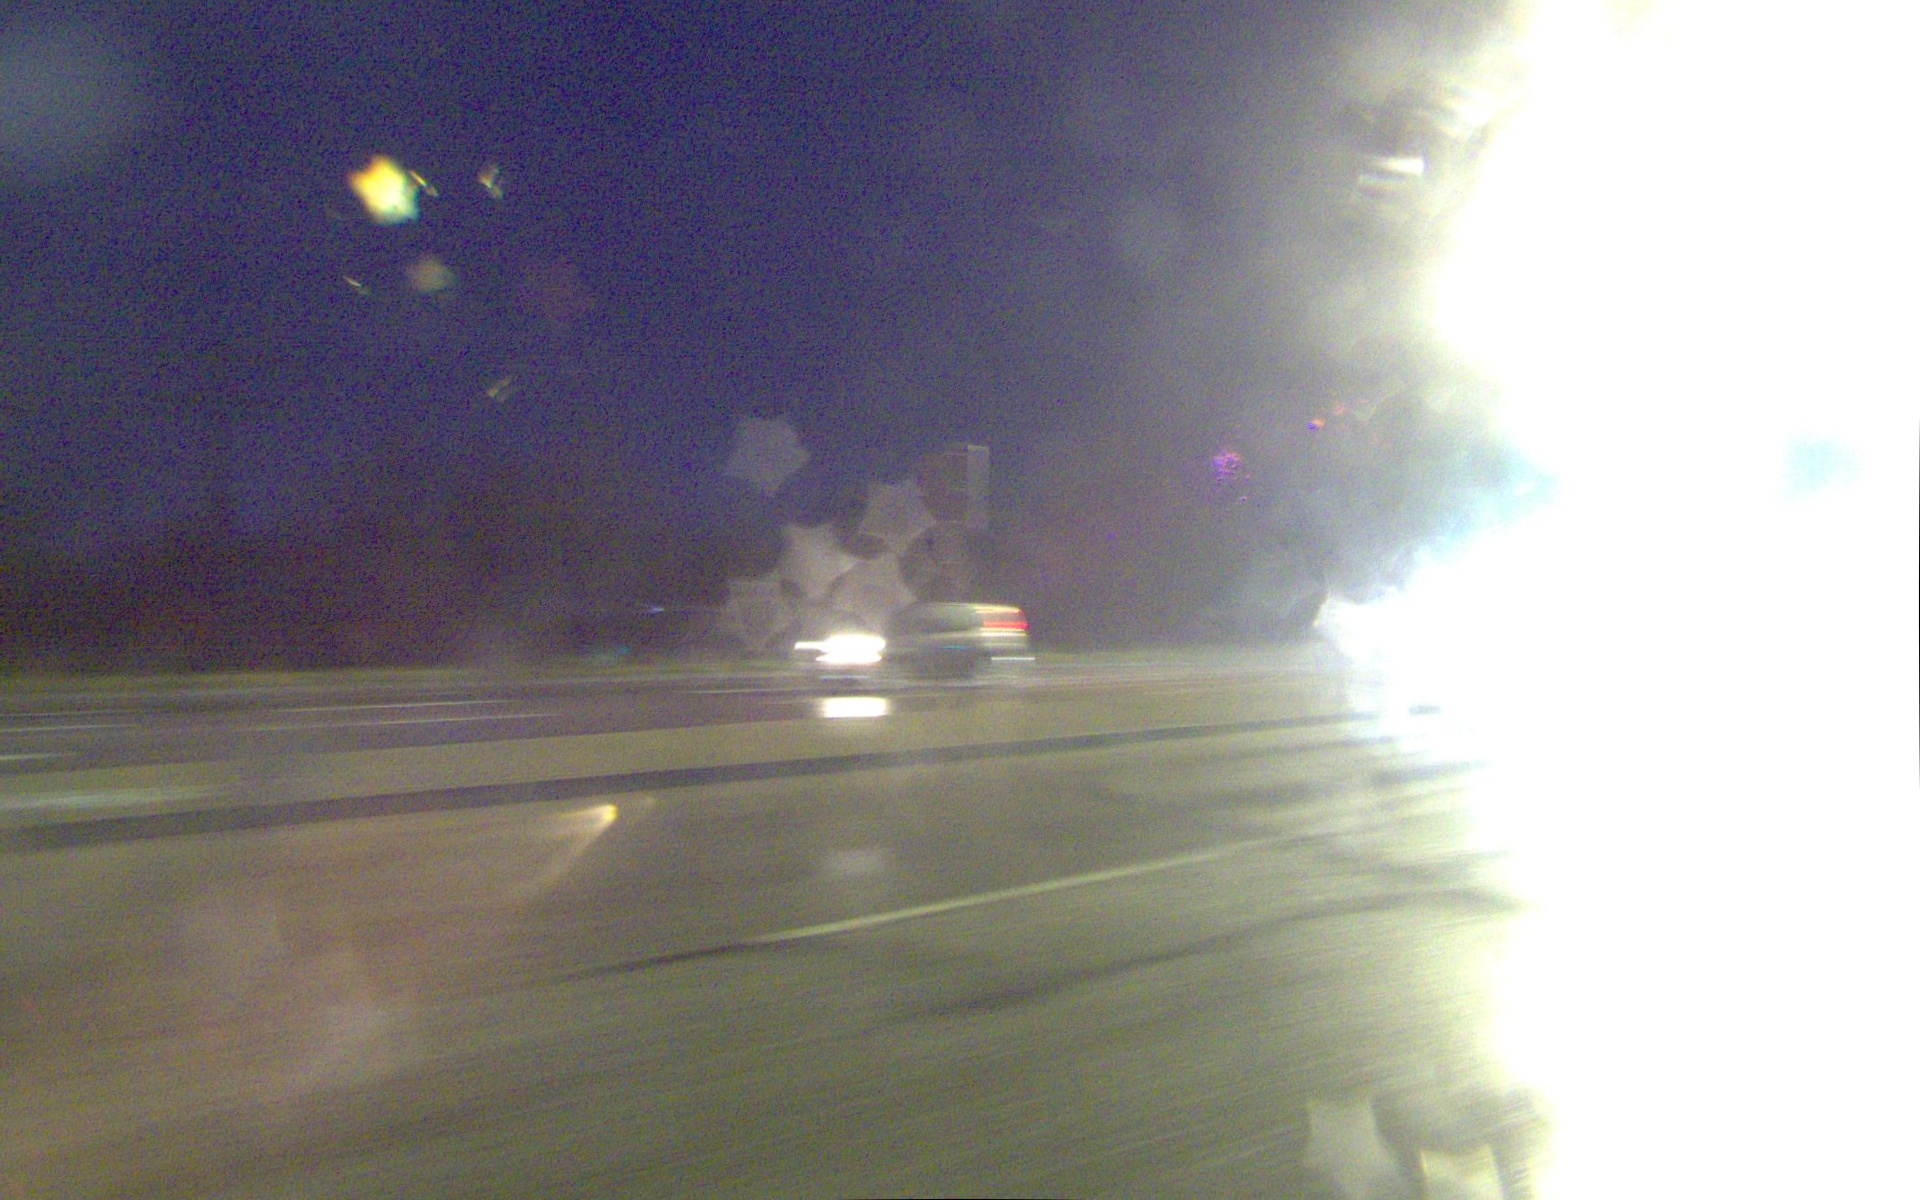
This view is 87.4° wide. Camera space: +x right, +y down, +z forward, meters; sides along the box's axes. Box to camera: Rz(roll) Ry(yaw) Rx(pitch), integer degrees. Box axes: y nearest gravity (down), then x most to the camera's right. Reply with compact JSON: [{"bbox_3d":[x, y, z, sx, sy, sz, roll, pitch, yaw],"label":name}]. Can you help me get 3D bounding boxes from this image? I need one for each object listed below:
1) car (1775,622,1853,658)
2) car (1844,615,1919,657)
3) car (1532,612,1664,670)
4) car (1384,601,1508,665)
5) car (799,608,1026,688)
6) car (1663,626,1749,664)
[{"bbox_3d":[37.289,1.694,43.827,3.780,1.468,1.654,1,0,-34],"label":"car"},{"bbox_3d":[34.463,1.303,37.304,3.314,1.446,1.580,1,0,-33],"label":"car"},{"bbox_3d":[19.695,1.233,30.959,4.195,1.630,1.772,1,0,-32],"label":"car"},{"bbox_3d":[15.777,1.030,32.541,4.162,1.918,1.751,1,0,-34],"label":"car"},{"bbox_3d":[-0.779,0.764,17.221,3.578,1.219,1.633,1,0,-35],"label":"car"},{"bbox_3d":[33.191,1.998,44.676,4.055,1.475,1.836,3,0,-35],"label":"car"}]
